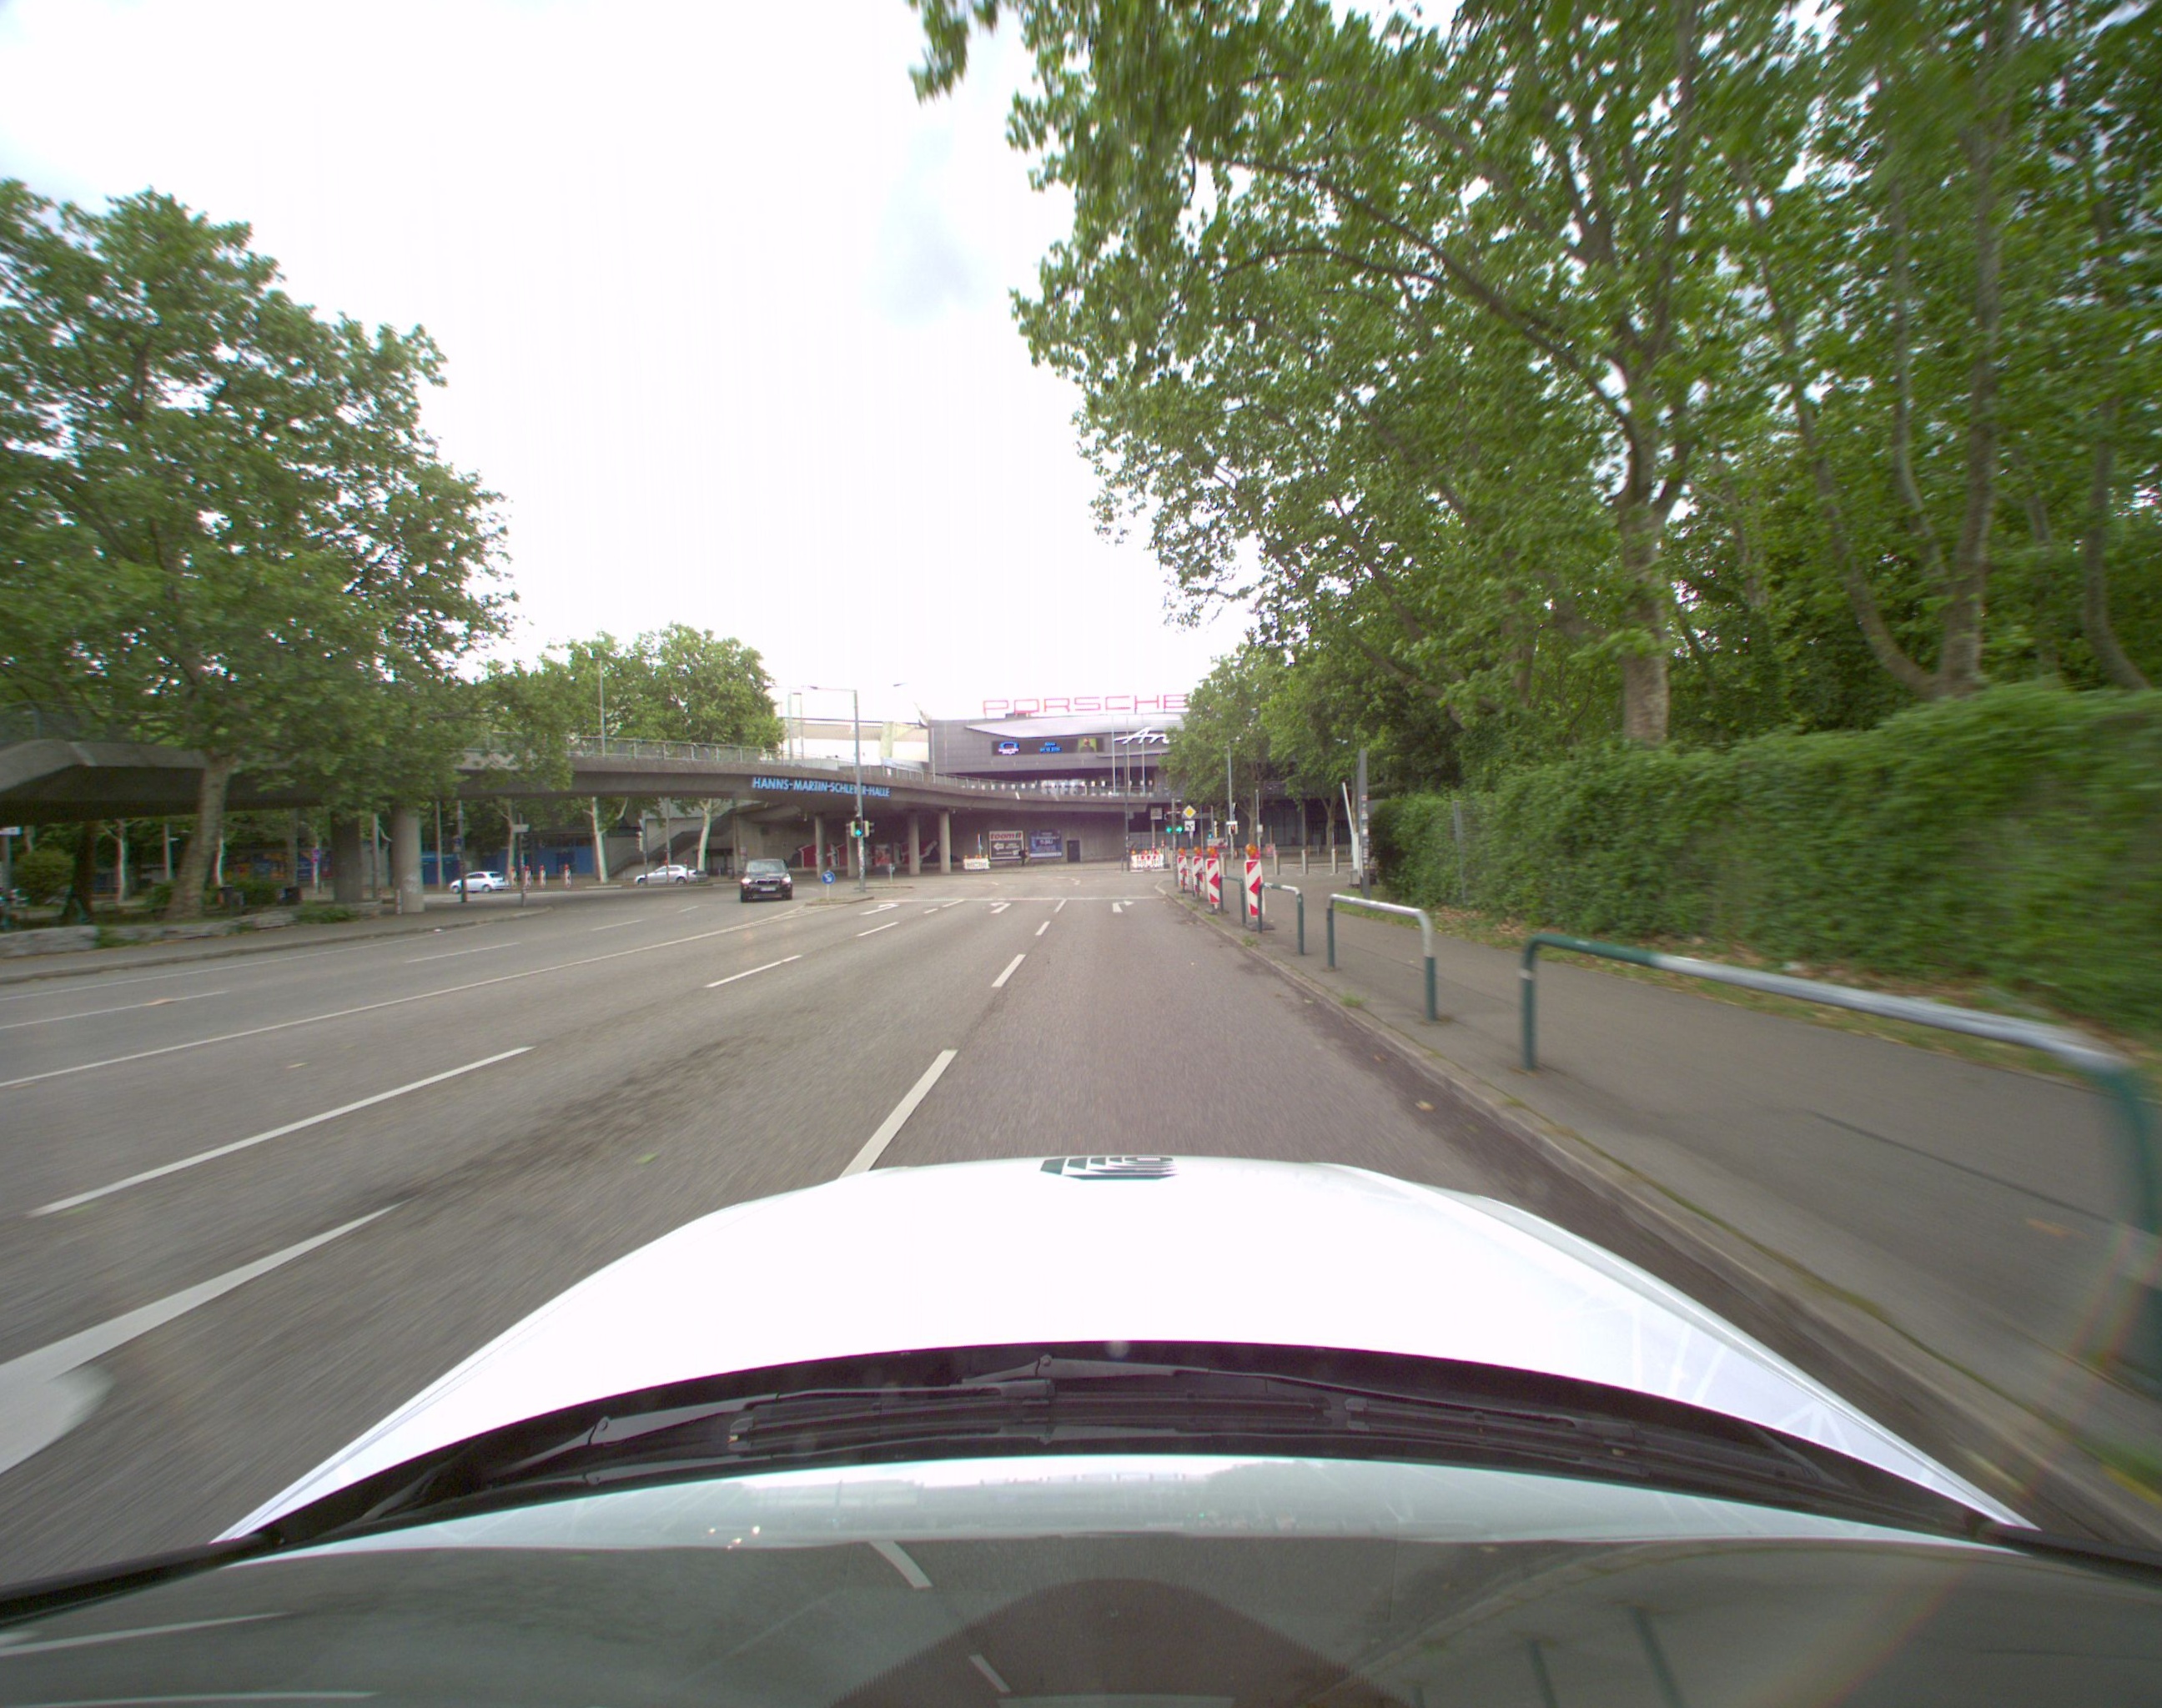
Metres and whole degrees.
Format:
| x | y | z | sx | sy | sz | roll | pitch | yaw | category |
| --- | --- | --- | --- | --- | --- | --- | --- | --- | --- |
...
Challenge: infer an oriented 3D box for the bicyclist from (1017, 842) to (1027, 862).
| x | y | z | sx | sy | sz | roll | pitch | yaw | category |
| --- | --- | --- | --- | --- | --- | --- | --- | --- | --- |
| -5.127 | -0.194 | 70.952 | 0.849 | 1.697 | 0.766 | 0 | -1 | -2 | bicyclist |

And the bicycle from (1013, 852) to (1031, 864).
| x | y | z | sx | sy | sz | roll | pitch | yaw | category |
| --- | --- | --- | --- | --- | --- | --- | --- | --- | --- |
| -5.118 | 0.339 | 70.942 | 1.529 | 1.013 | 0.516 | 0 | -1 | -3 | bicycle |

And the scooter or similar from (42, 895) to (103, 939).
| x | y | z | sx | sy | sz | roll | pitch | yaw | category |
| --- | --- | --- | --- | --- | --- | --- | --- | --- | --- |
| -32.259 | 2.001 | 26.057 | 0.414 | 1.319 | 1.227 | -3 | -2 | 1 | scooter or similar |

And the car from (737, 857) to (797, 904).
| x | y | z | sx | sy | sz | roll | pitch | yaw | category |
| --- | --- | --- | --- | --- | --- | --- | --- | --- | --- |
| -12.031 | 0.980 | 31.419 | 1.774 | 1.606 | 4.402 | -3 | 0 | -17 | car |

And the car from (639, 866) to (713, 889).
| x | y | z | sx | sy | sz | roll | pitch | yaw | category |
| --- | --- | --- | --- | --- | --- | --- | --- | --- | --- |
| -27.452 | 1.607 | 55.281 | 3.972 | 1.418 | 2.001 | -1 | 0 | 1 | car |

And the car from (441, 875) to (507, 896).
| x | y | z | sx | sy | sz | roll | pitch | yaw | category |
| --- | --- | --- | --- | --- | --- | --- | --- | --- | --- |
| -42.084 | 2.171 | 56.524 | 3.371 | 1.313 | 1.617 | -1 | 0 | 2 | car |
